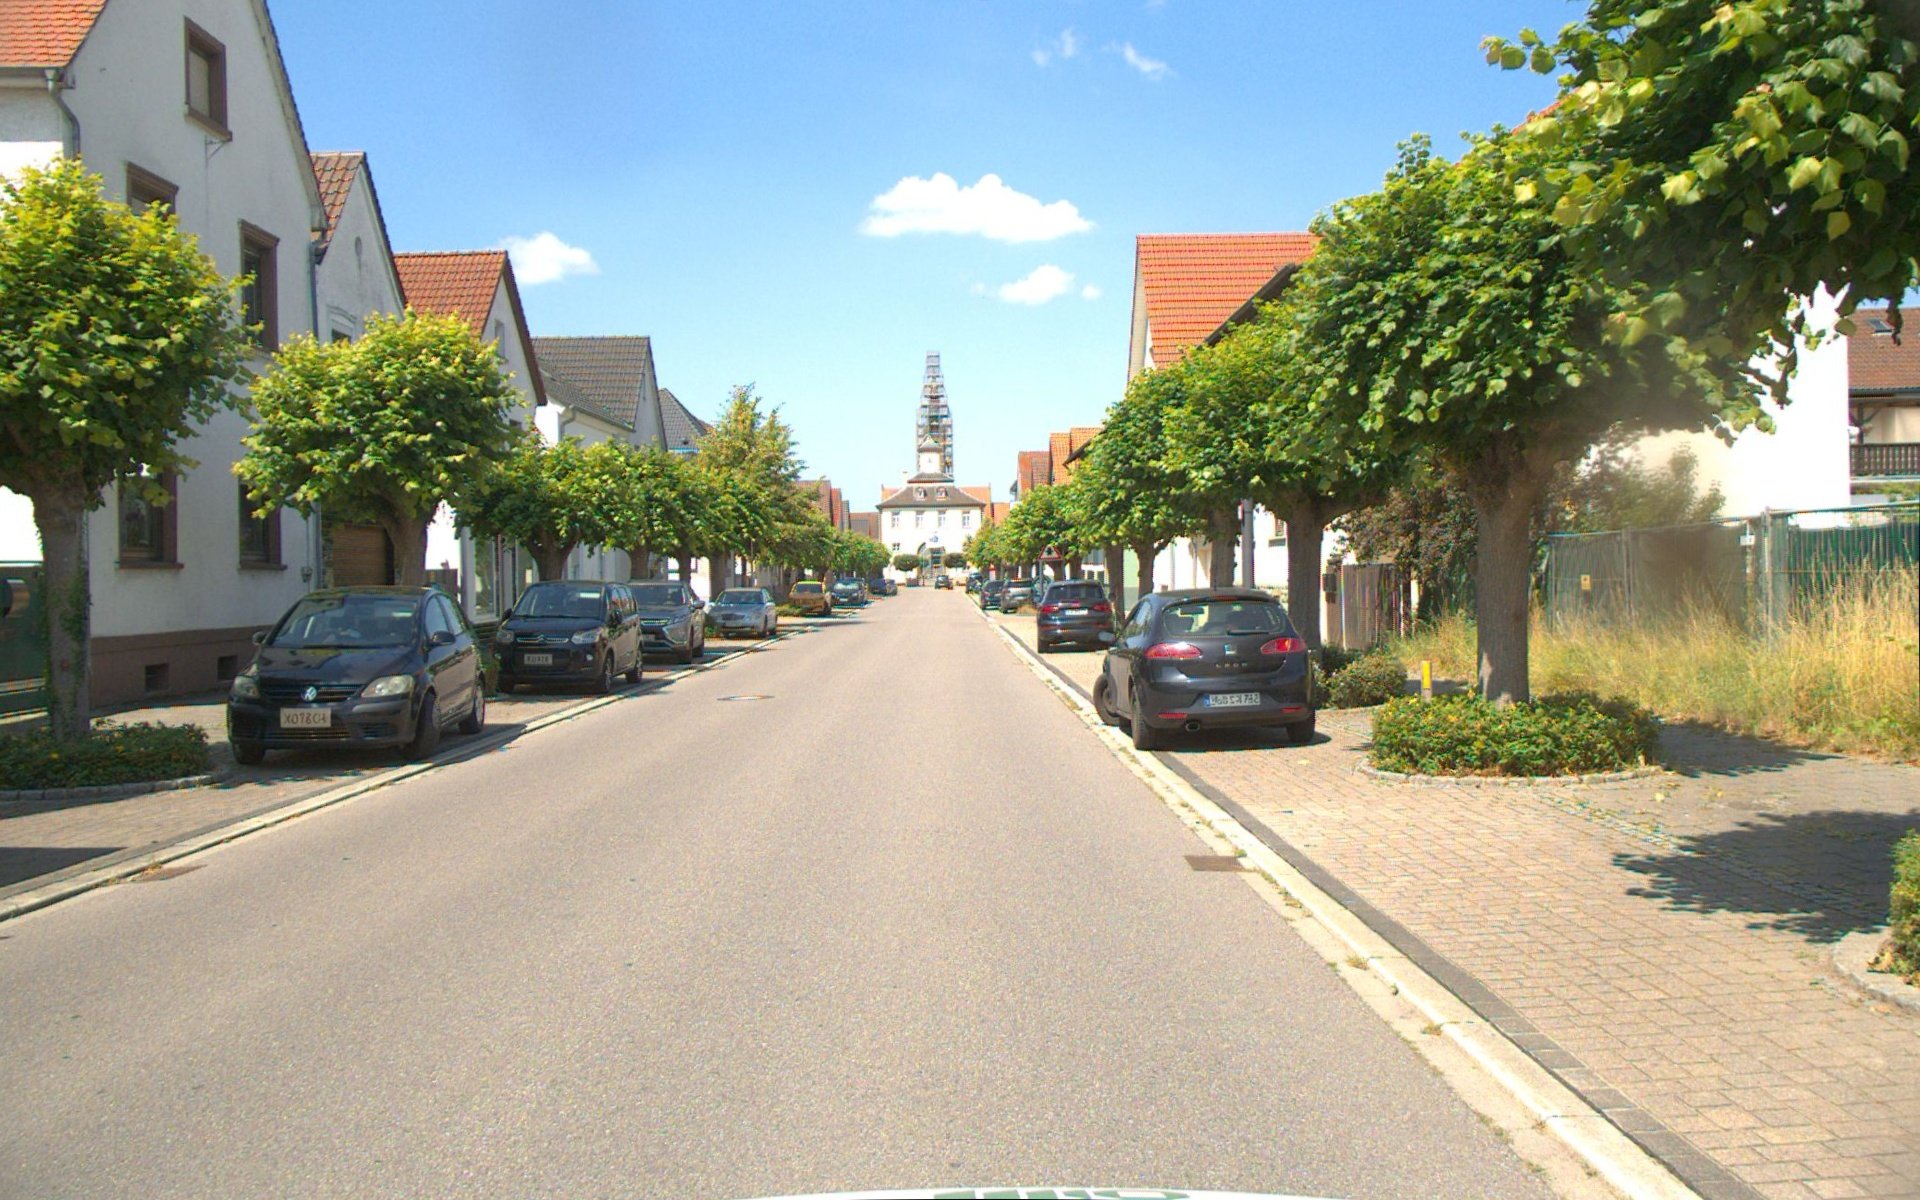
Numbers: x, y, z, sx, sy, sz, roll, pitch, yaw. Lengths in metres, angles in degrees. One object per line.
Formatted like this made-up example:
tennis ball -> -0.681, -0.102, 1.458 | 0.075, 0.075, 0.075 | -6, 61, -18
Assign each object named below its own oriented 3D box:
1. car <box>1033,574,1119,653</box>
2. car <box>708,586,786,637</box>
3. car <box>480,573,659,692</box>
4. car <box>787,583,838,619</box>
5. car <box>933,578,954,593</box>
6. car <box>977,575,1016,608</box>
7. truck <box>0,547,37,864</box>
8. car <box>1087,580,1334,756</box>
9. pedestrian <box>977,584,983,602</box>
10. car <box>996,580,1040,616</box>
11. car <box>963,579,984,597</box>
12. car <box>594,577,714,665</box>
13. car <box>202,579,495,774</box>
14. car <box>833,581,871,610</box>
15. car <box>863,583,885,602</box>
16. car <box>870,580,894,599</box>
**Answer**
car -> 2.633, 0.260, 37.970 | 1.786, 1.613, 4.059 | -2, 1, 3
car -> -6.219, 0.316, 48.740 | 1.803, 1.420, 4.405 | 0, 1, -1
car -> -5.896, 0.455, 25.432 | 1.815, 1.664, 4.056 | 1, 0, -1
car -> -6.987, 0.040, 78.482 | 1.952, 1.639, 4.689 | 1, 1, 0
car -> -1.742, -1.550, 177.613 | 1.693, 1.574, 3.458 | 1, 0, 8
car -> 1.872, -0.455, 86.098 | 1.800, 1.582, 4.313 | -3, 1, -1
truck -> -6.172, 0.592, 7.581 | 1.544, 1.796, 4.191 | 1, 0, -1
car -> 2.393, 0.581, 16.789 | 1.787, 1.457, 4.056 | -3, 1, -1
pedestrian -> 1.625, -0.583, 135.778 | 0.352, 1.427, 0.319 | -1, 0, 37
car -> 2.727, -0.124, 78.348 | 1.800, 1.636, 3.999 | -1, 1, -2
car -> 1.207, -1.098, 149.093 | 1.800, 1.582, 4.313 | -3, 1, 0
car -> -6.297, 0.393, 34.475 | 1.954, 1.681, 4.364 | 1, 0, -4
car -> -5.812, 0.647, 16.232 | 1.751, 1.662, 3.995 | 0, 0, -6
car -> -6.539, -0.276, 100.205 | 1.952, 1.639, 4.689 | 1, 1, 0
car -> -7.429, -0.628, 143.128 | 1.721, 1.582, 4.020 | -1, 1, 0
car -> -6.996, -0.940, 148.876 | 1.952, 1.639, 3.855 | 1, 0, 0
